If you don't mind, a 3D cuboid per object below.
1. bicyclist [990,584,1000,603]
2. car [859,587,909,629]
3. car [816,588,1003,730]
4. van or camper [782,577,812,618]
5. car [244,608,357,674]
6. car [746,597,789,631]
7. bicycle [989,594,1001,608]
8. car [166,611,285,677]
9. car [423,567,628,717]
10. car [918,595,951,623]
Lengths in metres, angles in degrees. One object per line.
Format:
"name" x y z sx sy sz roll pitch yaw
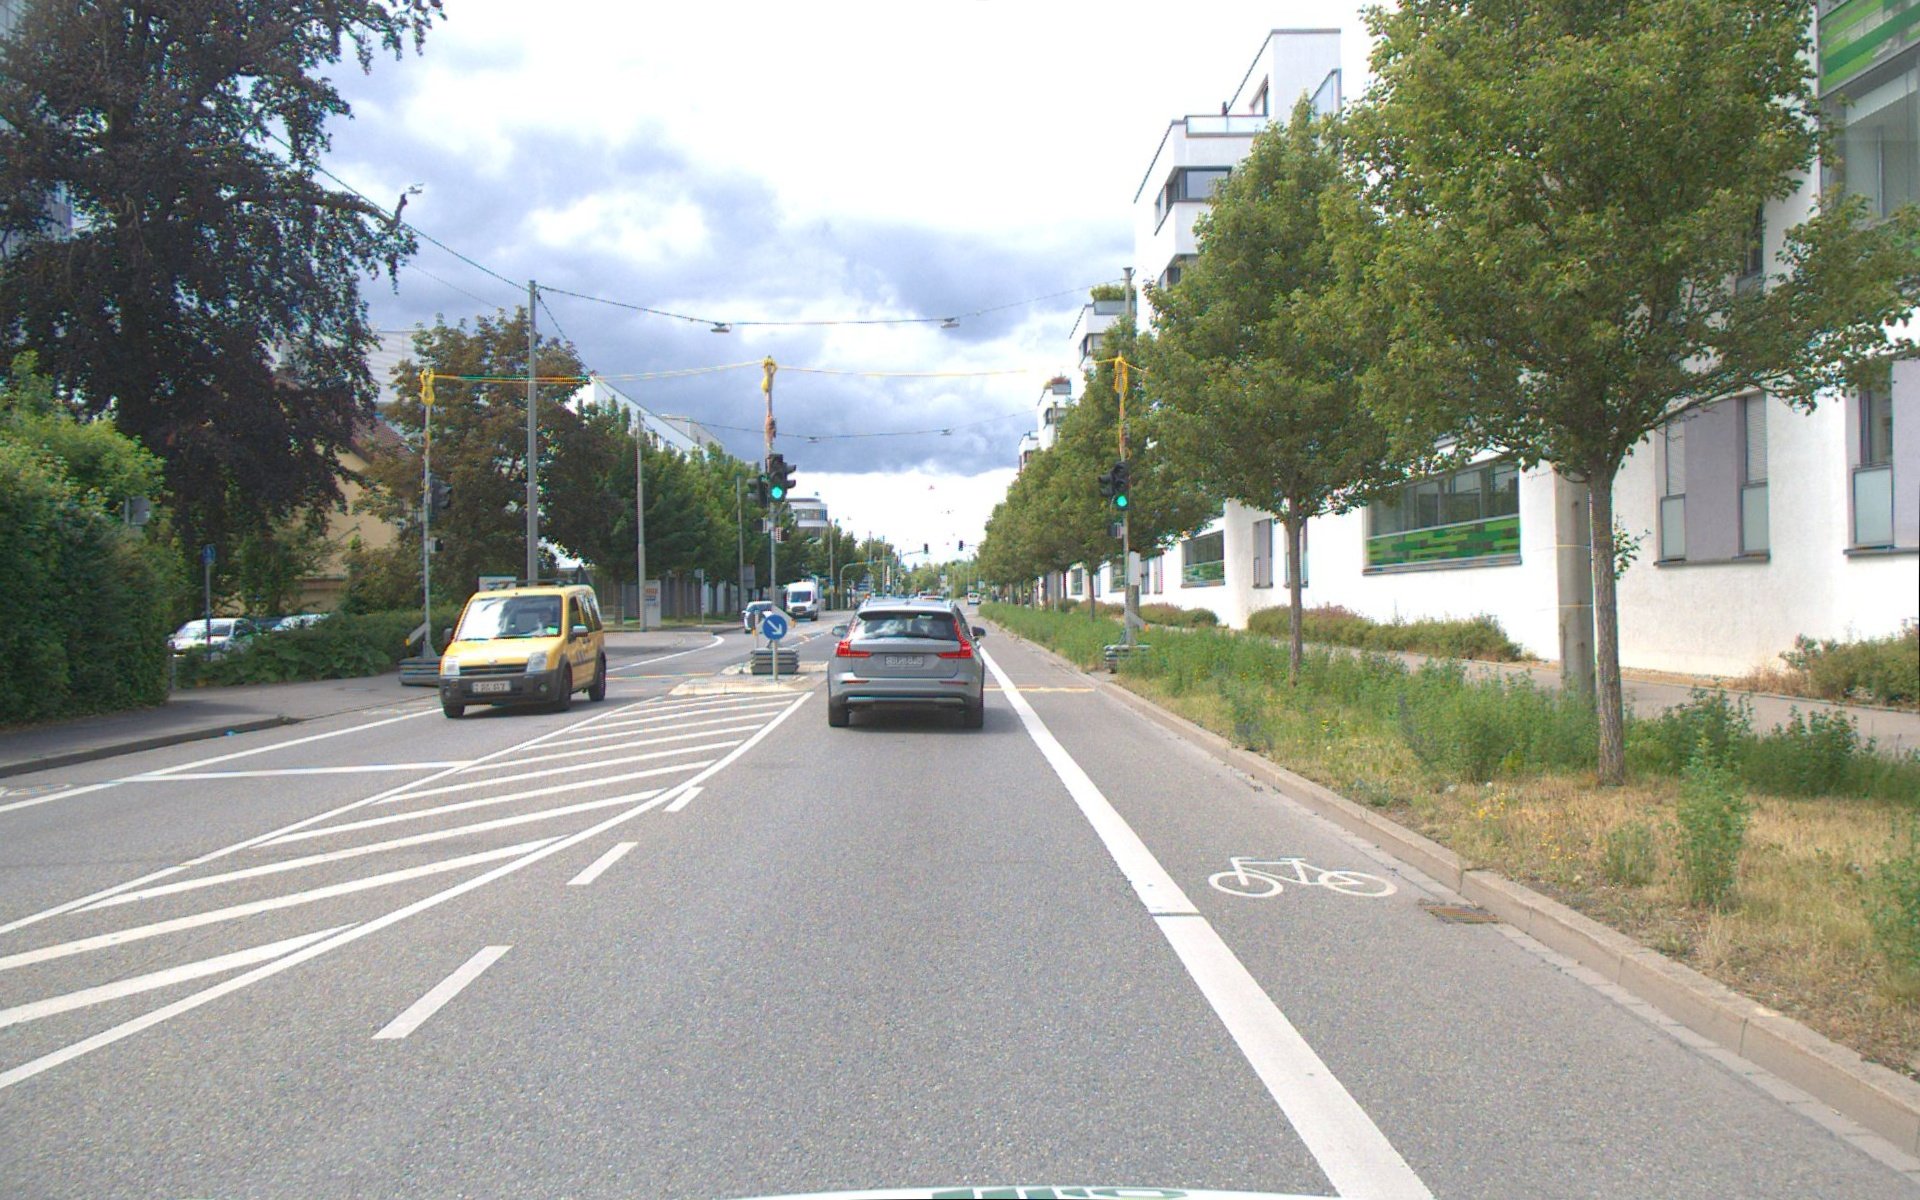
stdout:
"bicyclist" 3.774 -0.676 178.498 0.993 2.049 1.131 -2 0 -2
"car" -2.881 0.289 63.214 1.817 1.539 3.999 0 0 -2
"car" -0.510 0.651 20.338 1.815 1.539 4.002 1 0 5
"van or camper" -11.626 -0.198 118.100 1.955 2.781 6.046 -2 0 -5
"car" -16.704 1.010 42.041 1.628 1.542 3.434 -1 0 -3
"car" -9.126 0.648 78.610 1.627 1.542 3.999 -1 0 -1
"bicycle" 3.784 0.079 178.562 1.045 1.478 2.976 -2 0 -1
"car" -18.854 1.098 42.612 1.628 1.542 3.434 -1 0 -3
"car" -6.241 0.551 24.310 1.804 1.938 4.684 -2 0 -1
"car" -1.446 0.486 92.936 1.807 1.539 3.999 0 0 -2
